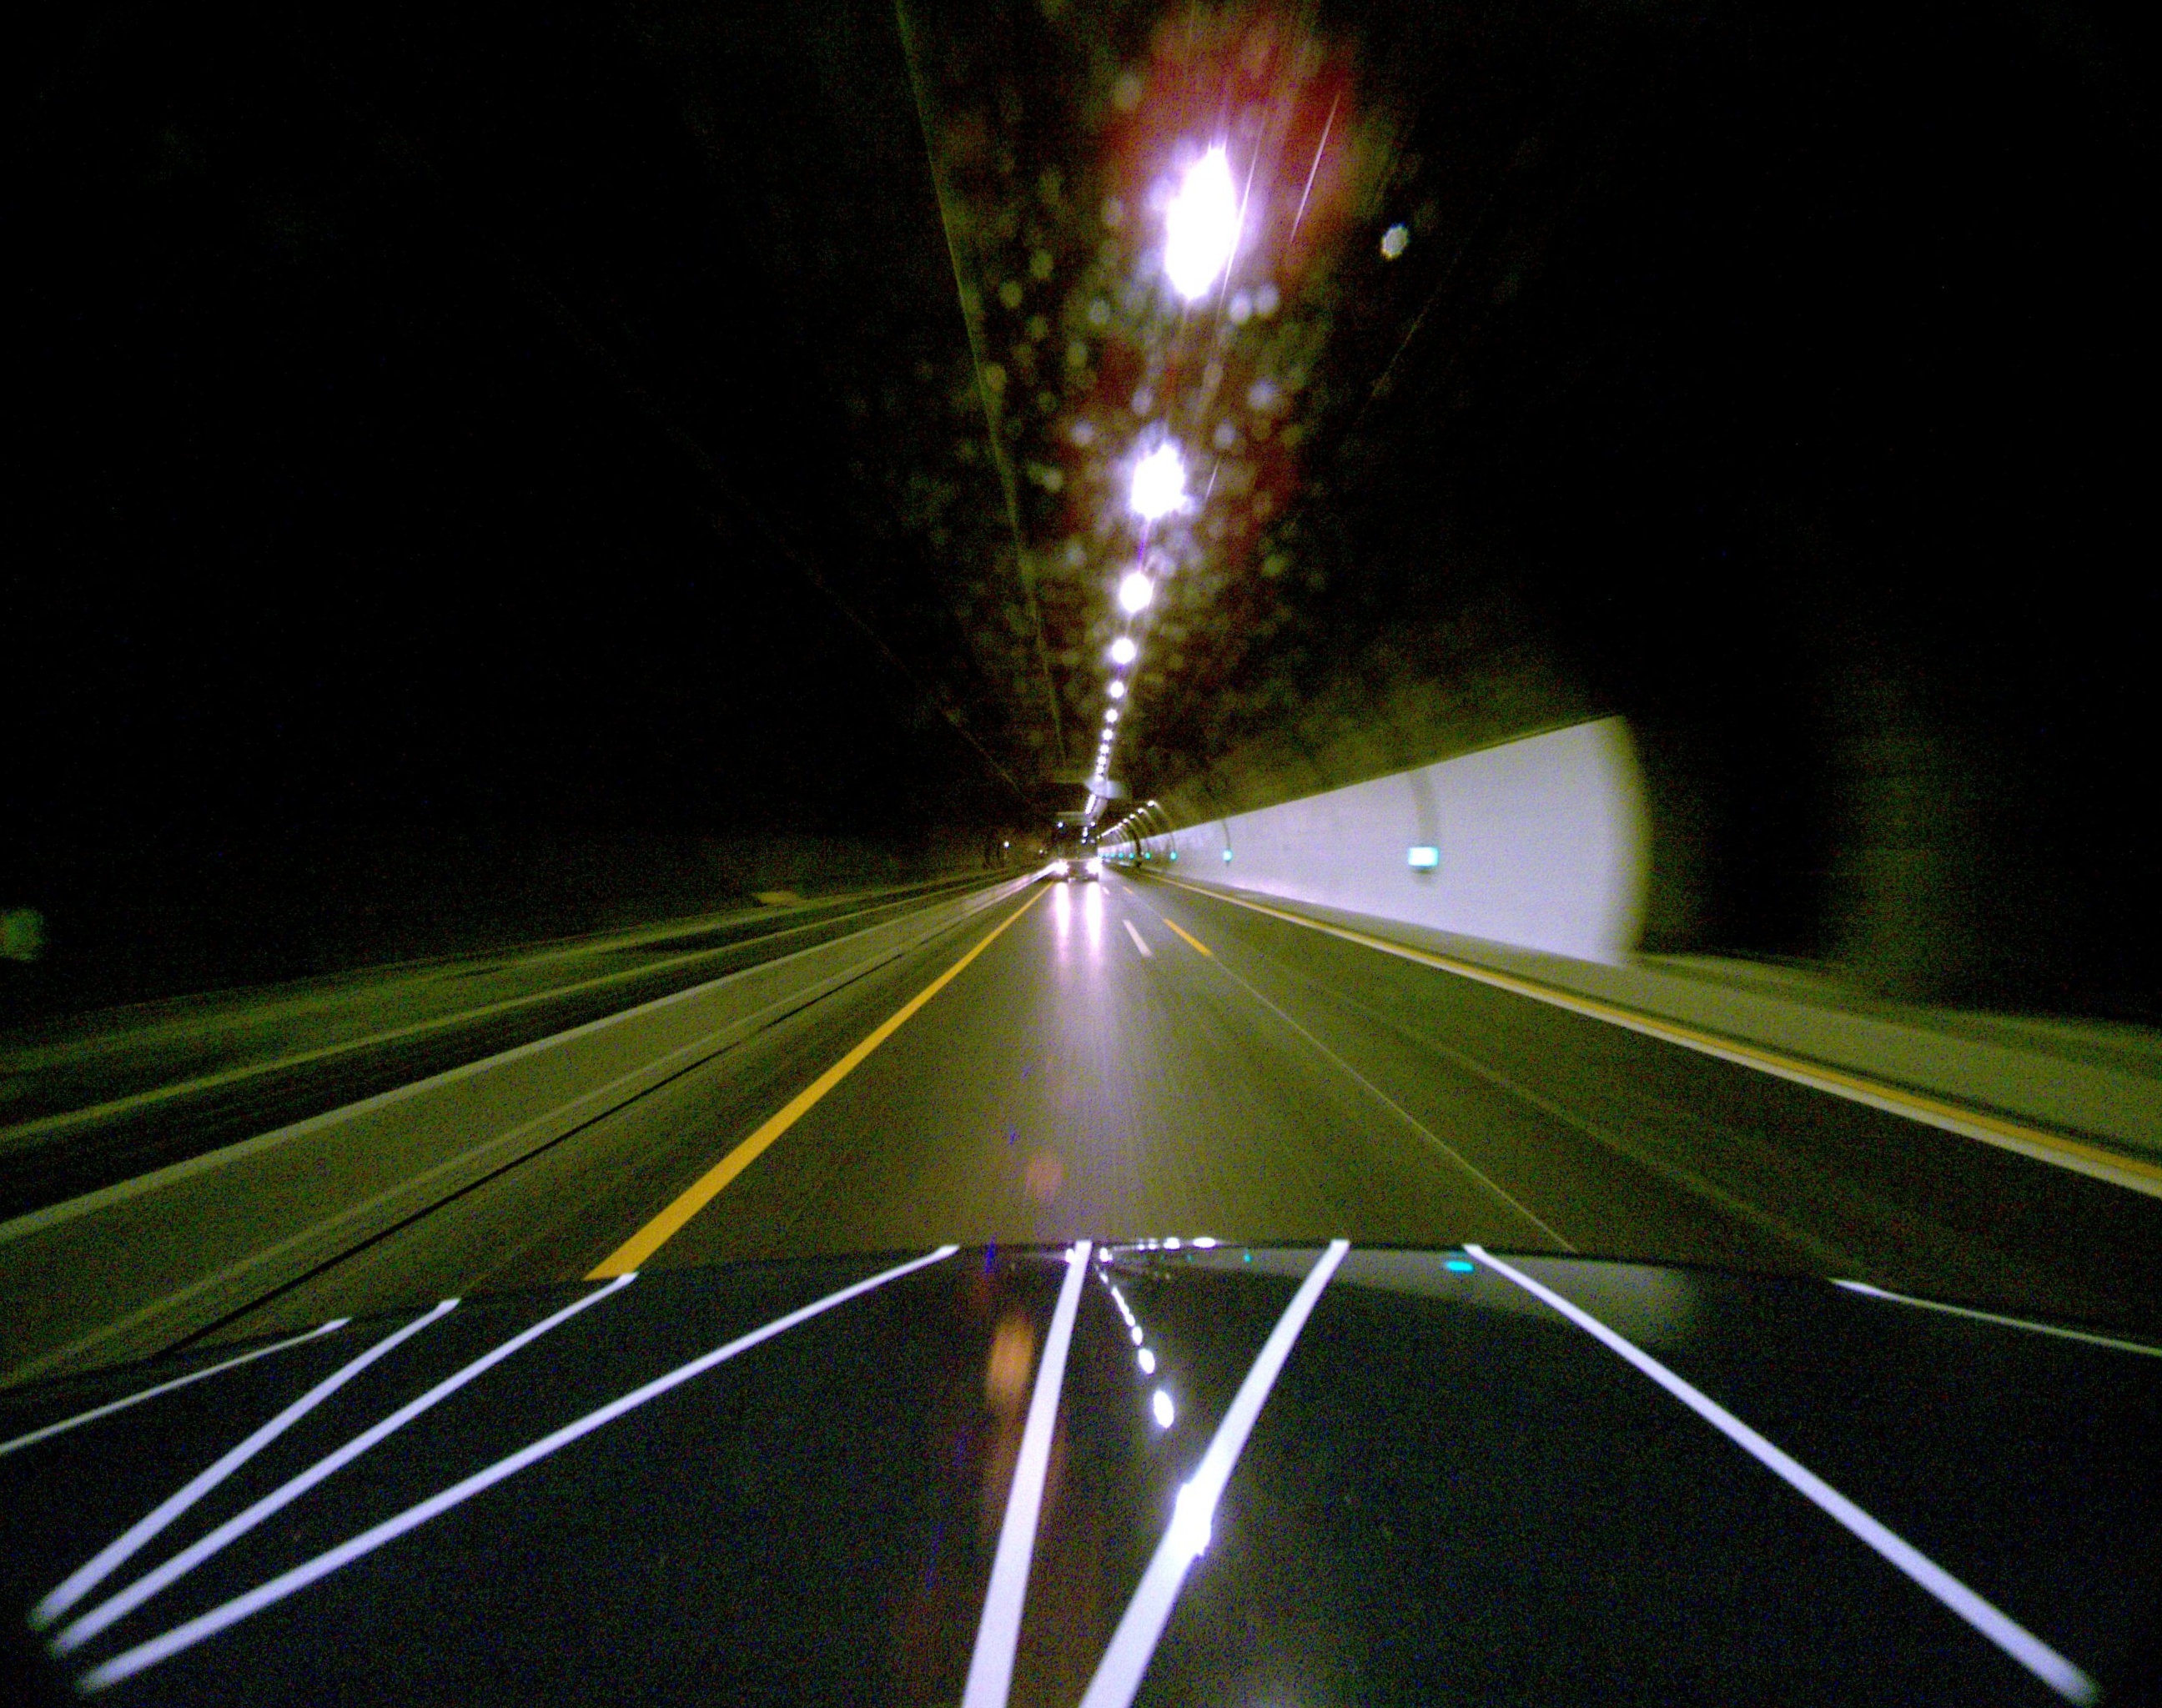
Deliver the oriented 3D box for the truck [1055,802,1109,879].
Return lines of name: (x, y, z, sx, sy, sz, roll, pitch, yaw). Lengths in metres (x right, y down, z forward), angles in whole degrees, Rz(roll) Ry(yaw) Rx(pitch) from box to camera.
truck: (0.013, -0.789, 46.796, 2.951, 4.338, 6.674, -2, 1, -1)

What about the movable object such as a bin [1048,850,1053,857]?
movable object such as a bin: (-10.498, -0.229, 261.719, 1.688, 2.133, 4.626, -2, 1, -2)

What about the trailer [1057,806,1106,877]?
trailer: (-0.081, -0.824, 51.992, 2.940, 4.316, 10.049, -2, 1, -1)
